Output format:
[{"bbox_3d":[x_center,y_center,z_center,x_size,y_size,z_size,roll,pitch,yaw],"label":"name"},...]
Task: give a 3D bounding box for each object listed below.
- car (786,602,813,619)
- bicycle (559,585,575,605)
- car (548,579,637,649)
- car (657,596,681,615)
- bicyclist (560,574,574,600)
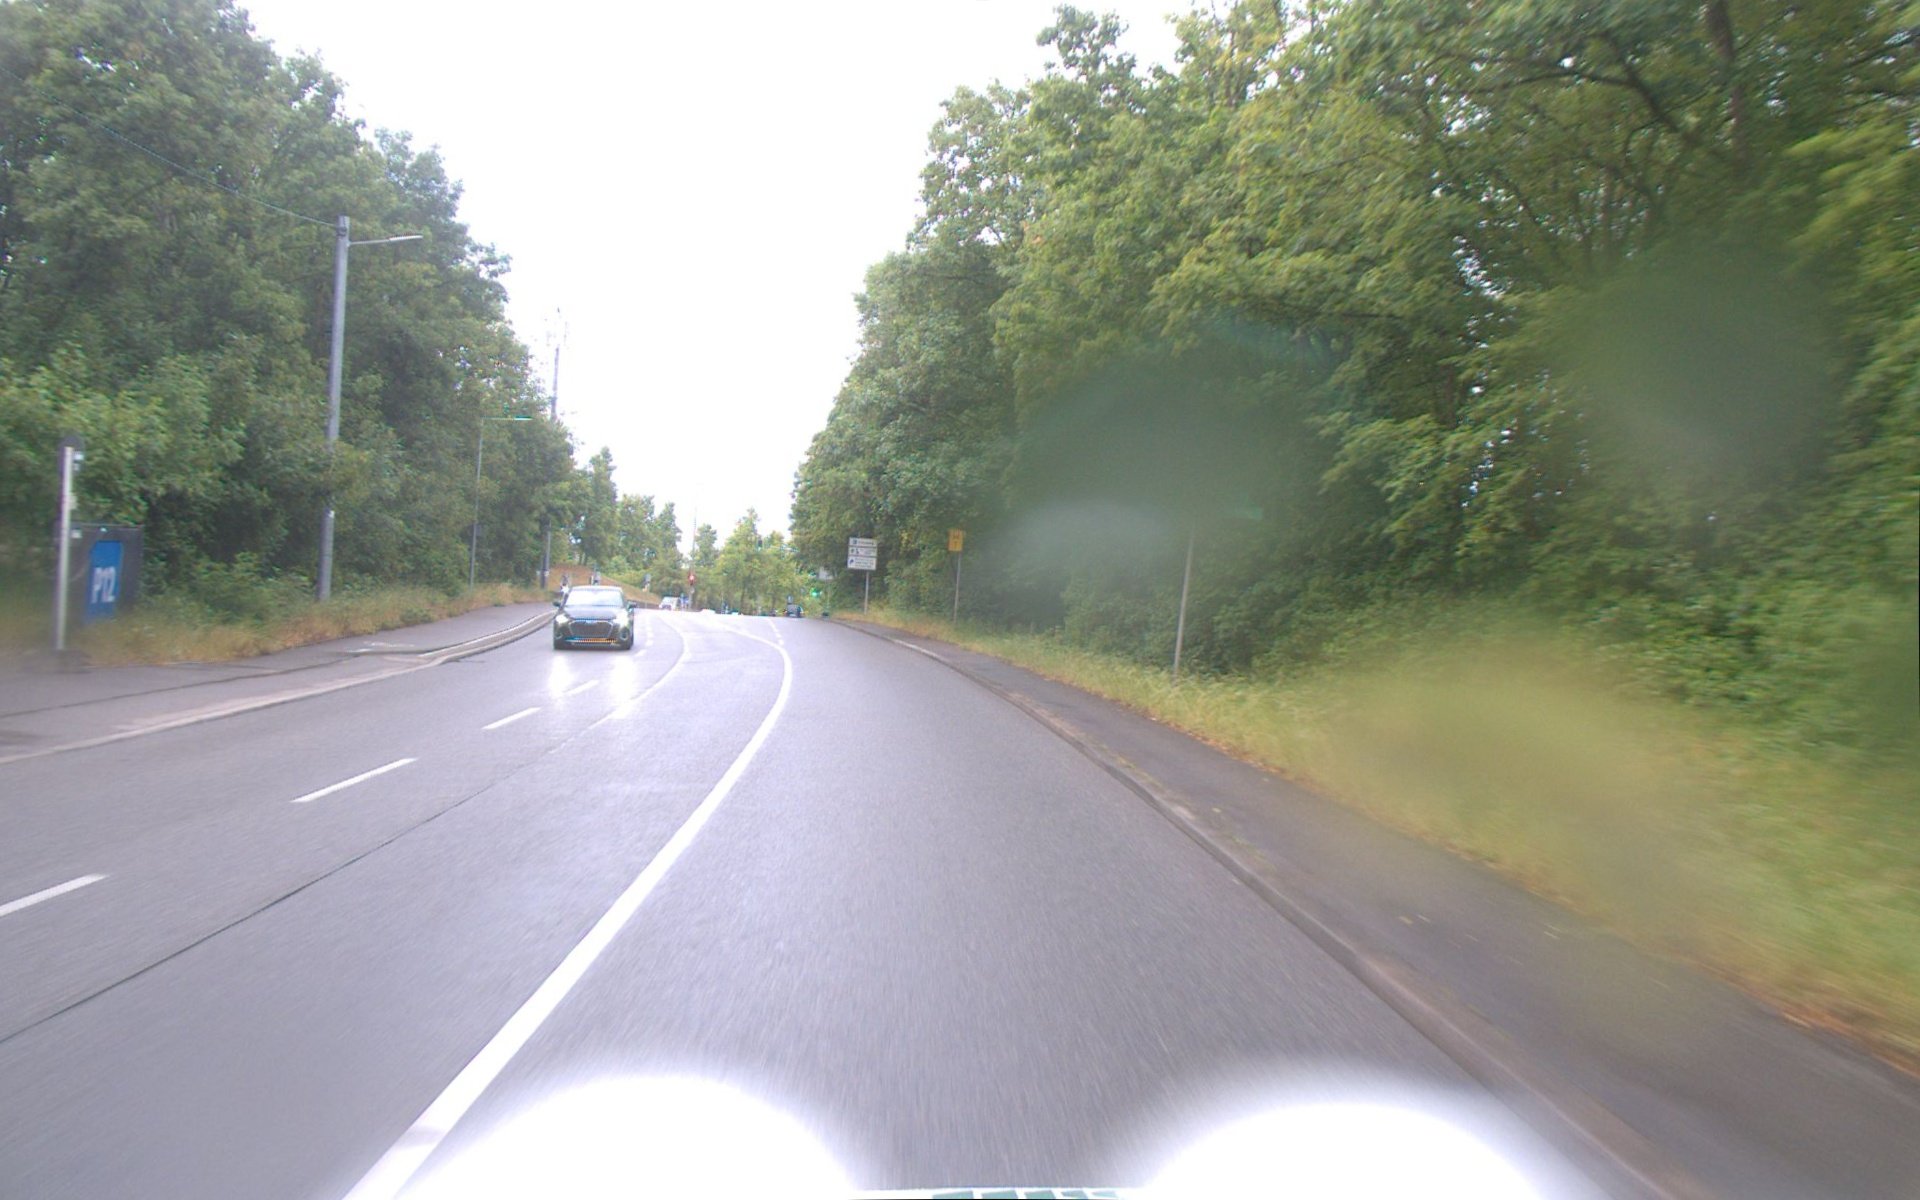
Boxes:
[{"bbox_3d":[-15.476,1.031,159.333,1.894,1.524,4.320,2,0,3],"label":"car"},{"bbox_3d":[-25.985,-0.342,109.307,0.691,1.264,2.162,1,0,-6],"label":"bicycle"},{"bbox_3d":[-8.665,0.295,39.077,1.901,1.524,4.305,2,0,-12],"label":"car"},{"bbox_3d":[-30.326,0.600,172.495,1.954,1.881,3.997,1,-1,-3],"label":"car"},{"bbox_3d":[-25.968,-0.841,109.313,0.691,1.673,0.950,1,0,-6],"label":"bicyclist"}]
